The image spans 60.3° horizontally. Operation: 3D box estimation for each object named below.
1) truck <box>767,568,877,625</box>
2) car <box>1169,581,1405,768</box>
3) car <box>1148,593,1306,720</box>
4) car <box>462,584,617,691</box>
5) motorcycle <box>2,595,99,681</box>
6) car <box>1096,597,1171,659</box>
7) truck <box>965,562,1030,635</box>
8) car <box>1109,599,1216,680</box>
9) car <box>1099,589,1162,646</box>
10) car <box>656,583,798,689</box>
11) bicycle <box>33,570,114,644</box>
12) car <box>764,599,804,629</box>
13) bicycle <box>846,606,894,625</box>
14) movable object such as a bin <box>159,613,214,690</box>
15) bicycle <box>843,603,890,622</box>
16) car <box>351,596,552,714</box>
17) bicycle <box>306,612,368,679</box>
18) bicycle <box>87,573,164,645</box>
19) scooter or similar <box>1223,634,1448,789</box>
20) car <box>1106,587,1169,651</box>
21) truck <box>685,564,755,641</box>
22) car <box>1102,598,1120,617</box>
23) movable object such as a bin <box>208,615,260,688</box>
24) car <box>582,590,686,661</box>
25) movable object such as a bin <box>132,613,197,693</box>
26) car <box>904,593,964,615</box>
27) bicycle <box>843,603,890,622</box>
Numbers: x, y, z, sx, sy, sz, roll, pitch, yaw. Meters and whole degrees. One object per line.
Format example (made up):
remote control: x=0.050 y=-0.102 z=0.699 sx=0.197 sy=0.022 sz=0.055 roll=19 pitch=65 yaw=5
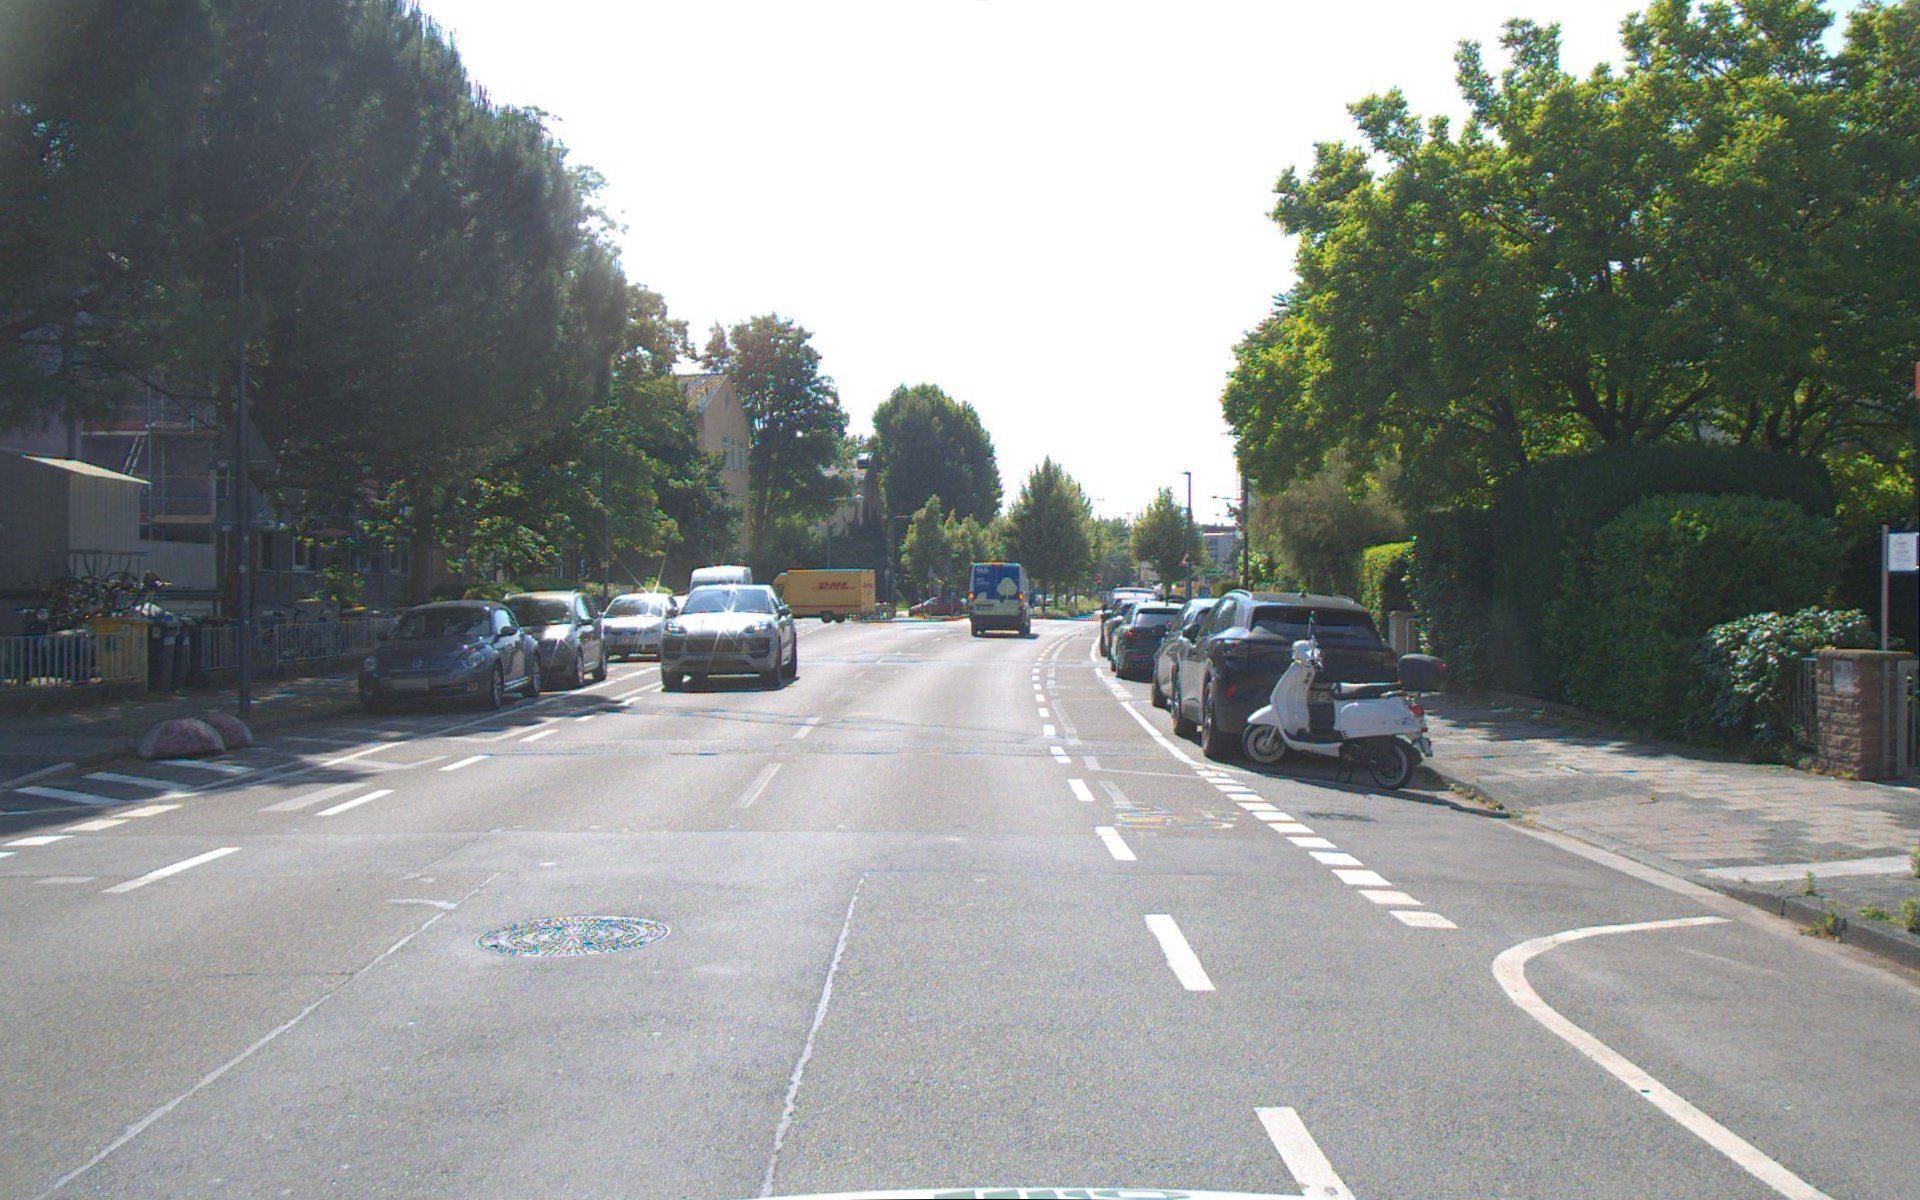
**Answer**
truck: x=-7.503 y=-0.185 z=90.126 sx=5.550 sy=2.998 sz=2.222 roll=0 pitch=0 yaw=20
car: x=3.277 y=0.668 z=17.386 sx=1.747 sy=1.666 sz=4.472 roll=2 pitch=0 yaw=3
car: x=3.629 y=0.716 z=23.062 sx=1.673 sy=1.540 sz=3.903 roll=2 pitch=0 yaw=2
car: x=-7.322 y=0.597 z=29.219 sx=1.871 sy=1.706 sz=4.255 roll=-1 pitch=0 yaw=-4
motorcycle: x=-13.166 y=0.539 z=23.974 sx=0.525 sy=1.202 sz=1.447 roll=0 pitch=0 yaw=4
car: x=4.298 y=0.665 z=41.411 sx=1.747 sy=1.424 sz=4.125 roll=1 pitch=0 yaw=4
truck: x=1.433 y=-0.068 z=61.849 sx=2.224 sy=2.616 sz=4.394 roll=0 pitch=0 yaw=4
car: x=3.905 y=0.722 z=32.481 sx=1.747 sy=1.424 sz=4.326 roll=2 pitch=0 yaw=3
car: x=5.305 y=0.522 z=51.836 sx=1.665 sy=1.706 sz=3.775 roll=0 pitch=0 yaw=1
car: x=-3.973 y=0.561 z=28.863 sx=1.953 sy=1.686 sz=4.603 roll=0 pitch=0 yaw=-2
bicycle: x=-15.333 y=0.104 z=28.633 sx=0.525 sy=1.202 sz=1.447 roll=0 pitch=2 yaw=4
car: x=-8.423 y=0.664 z=79.508 sx=1.719 sy=1.367 sz=3.652 roll=0 pitch=0 yaw=-3
bicycle: x=-5.144 y=0.901 z=94.211 sx=2.616 sy=1.044 sz=1.024 roll=0 pitch=0 yaw=-10
movable object such as a bin: x=-11.480 y=0.756 z=24.548 sx=0.592 sy=1.131 sz=0.431 roll=0 pitch=0 yaw=4
bicycle: x=-5.384 y=0.694 z=95.324 sx=2.639 sy=1.066 sz=1.024 roll=0 pitch=0 yaw=-10
car: x=-7.128 y=0.710 z=23.607 sx=1.745 sy=1.485 sz=4.084 roll=-1 pitch=0 yaw=-3
bicycle: x=-11.318 y=0.803 z=30.085 sx=0.365 sy=1.166 sz=1.977 roll=0 pitch=0 yaw=0
bicycle: x=-14.502 y=0.153 z=28.774 sx=0.525 sy=1.202 sz=1.447 roll=0 pitch=0 yaw=4
scooter or similar: x=3.282 y=0.946 z=14.552 sx=1.766 sy=1.174 sz=0.715 roll=4 pitch=0 yaw=43
car: x=4.980 y=0.505 z=46.577 sx=1.664 sy=1.706 sz=3.777 roll=0 pitch=0 yaw=6
truck: x=-8.422 y=0.057 z=58.431 sx=2.040 sy=2.581 sz=5.462 roll=0 pitch=0 yaw=-4
car: x=16.571 y=0.818 z=181.433 sx=1.868 sy=2.049 sz=4.002 roll=0 pitch=0 yaw=3
movable object such as a bin: x=-11.384 y=0.798 z=25.936 sx=0.532 sy=1.131 sz=0.585 roll=0 pitch=0 yaw=4
car: x=-7.850 y=0.602 z=40.124 sx=1.797 sy=1.623 sz=3.774 roll=0 pitch=0 yaw=0
movable object such as a bin: x=-11.525 y=0.766 z=23.974 sx=0.592 sy=1.131 sz=0.663 roll=0 pitch=0 yaw=4
car: x=-1.799 y=0.262 z=114.391 sx=3.915 sy=1.516 sz=1.625 roll=0 pitch=0 yaw=-11
bicycle: x=-5.458 y=0.723 z=96.429 sx=2.639 sy=1.066 sz=1.024 roll=0 pitch=0 yaw=-10
